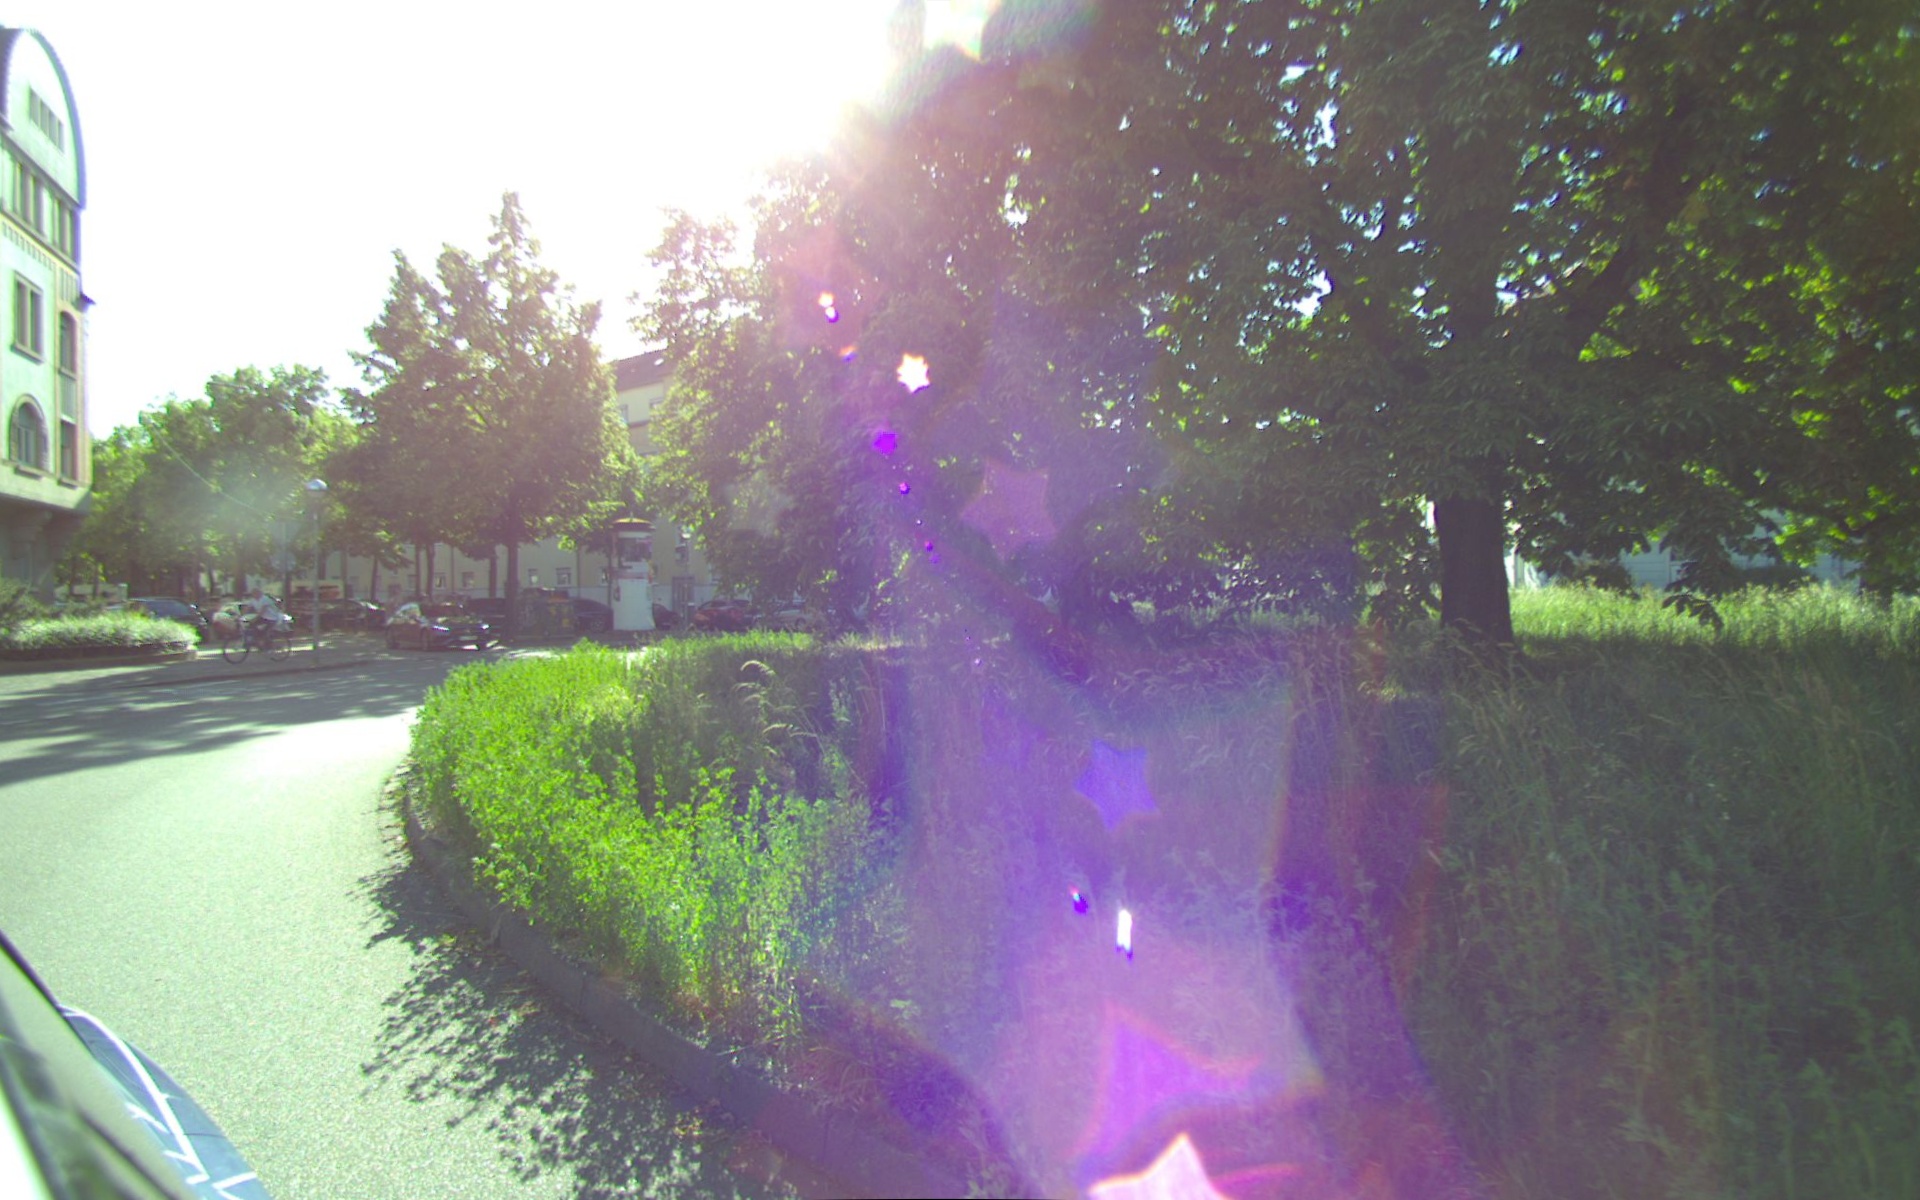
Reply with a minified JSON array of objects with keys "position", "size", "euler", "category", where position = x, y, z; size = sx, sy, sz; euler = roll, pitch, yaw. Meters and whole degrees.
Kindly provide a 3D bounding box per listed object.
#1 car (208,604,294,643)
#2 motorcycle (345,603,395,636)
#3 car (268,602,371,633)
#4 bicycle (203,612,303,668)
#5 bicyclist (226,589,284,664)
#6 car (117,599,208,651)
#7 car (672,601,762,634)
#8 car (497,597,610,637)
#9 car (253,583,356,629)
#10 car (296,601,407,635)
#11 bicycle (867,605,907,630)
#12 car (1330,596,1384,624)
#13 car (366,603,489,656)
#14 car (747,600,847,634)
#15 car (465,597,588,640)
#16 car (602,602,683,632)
[{"position":[-28.675,0.947,40.915],"size":[4.204,1.446,1.775],"euler":[-1,1,39],"category":"car"},{"position":[-25.008,0.834,42.914],"size":[0.722,1.358,1.789],"euler":[-1,0,19],"category":"motorcycle"},{"position":[-31.554,0.849,49.971],"size":[3.933,1.464,1.828],"euler":[-1,0,-14],"category":"car"},{"position":[-16.312,0.900,23.402],"size":[0.758,1.207,1.861],"euler":[0,0,14],"category":"bicycle"},{"position":[-16.299,0.595,23.401],"size":[0.758,1.709,0.808],"euler":[0,0,15],"category":"bicyclist"},{"position":[-30.256,0.939,38.354],"size":[4.204,1.780,1.775],"euler":[-1,2,39],"category":"car"},{"position":[-11.412,0.810,47.418],"size":[4.380,1.450,1.713],"euler":[-1,0,37],"category":"car"},{"position":[-15.916,0.644,39.811],"size":[3.933,1.484,1.764],"euler":[-1,0,-13],"category":"car"},{"position":[-36.847,0.321,57.038],"size":[4.515,2.509,1.993],"euler":[-1,0,-19],"category":"car"},{"position":[-27.383,0.807,45.678],"size":[3.933,1.452,1.828],"euler":[-1,0,-14],"category":"car"},{"position":[-3.316,0.805,45.994],"size":[1.791,1.116,0.495],"euler":[-1,0,27],"category":"bicycle"},{"position":[21.675,0.530,55.367],"size":[1.779,1.423,3.991],"euler":[-1,0,7],"category":"car"},{"position":[-16.112,0.864,30.542],"size":[4.205,1.446,1.775],"euler":[-1,1,39],"category":"car"},{"position":[-7.139,0.742,44.188],"size":[4.482,1.422,1.711],"euler":[-1,0,37],"category":"car"},{"position":[-15.939,0.676,37.384],"size":[3.934,1.484,1.764],"euler":[-1,0,-12],"category":"car"},{"position":[-16.110,0.854,51.286],"size":[4.380,1.450,1.713],"euler":[-1,0,37],"category":"car"}]
